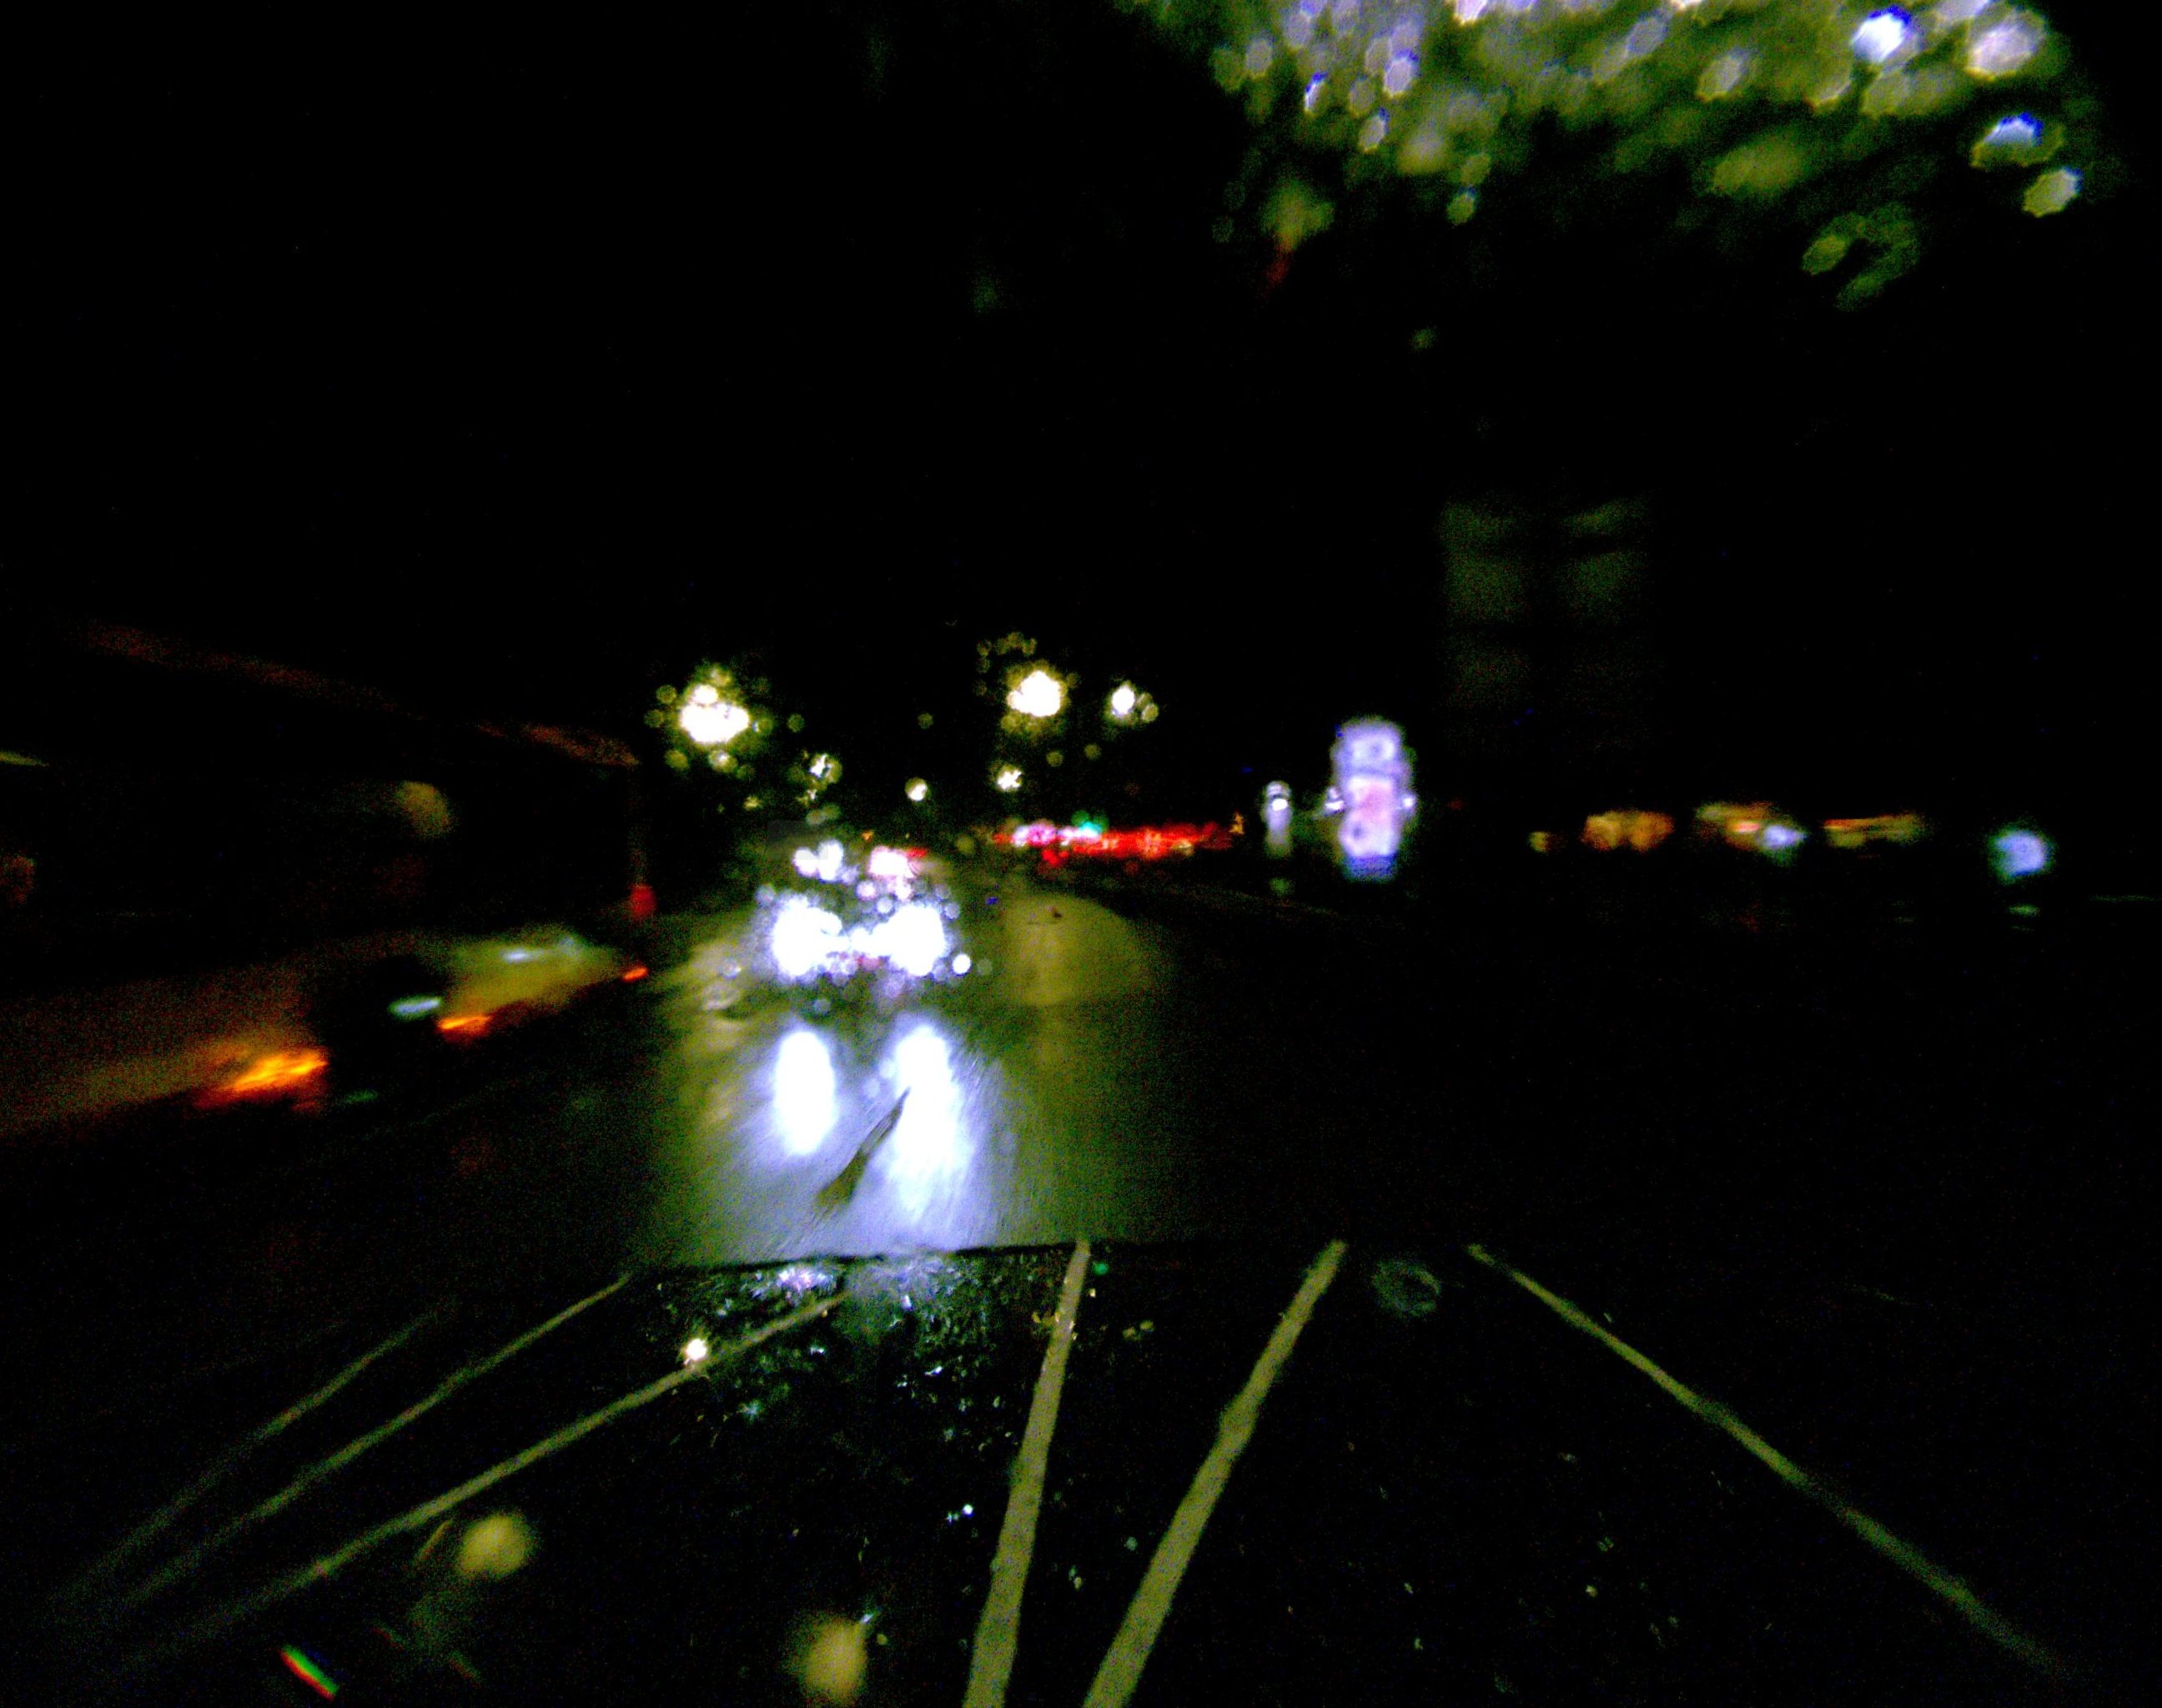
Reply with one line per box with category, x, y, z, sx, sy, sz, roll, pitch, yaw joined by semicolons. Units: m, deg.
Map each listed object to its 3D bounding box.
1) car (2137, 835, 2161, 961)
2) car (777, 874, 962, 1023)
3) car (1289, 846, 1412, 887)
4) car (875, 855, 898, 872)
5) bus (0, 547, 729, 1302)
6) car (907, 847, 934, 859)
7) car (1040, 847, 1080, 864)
car;13.074;0.470;6.250;1.900;1.381;4.838;-2;1;-5
car;-2.775;1.148;10.904;1.725;1.478;4.160;-5;0;-6
car;10.399;0.449;29.745;1.902;1.381;4.833;-2;1;-19
car;-17.649;0.863;68.865;1.613;1.438;3.966;-1;1;-21
bus;-5.969;0.314;4.781;2.740;3.219;9.699;-2;1;1
car;-19.906;-0.125;94.187;1.904;1.381;4.830;-3;1;-29
car;-1.900;0.136;67.654;1.903;1.381;4.831;-3;1;-23
